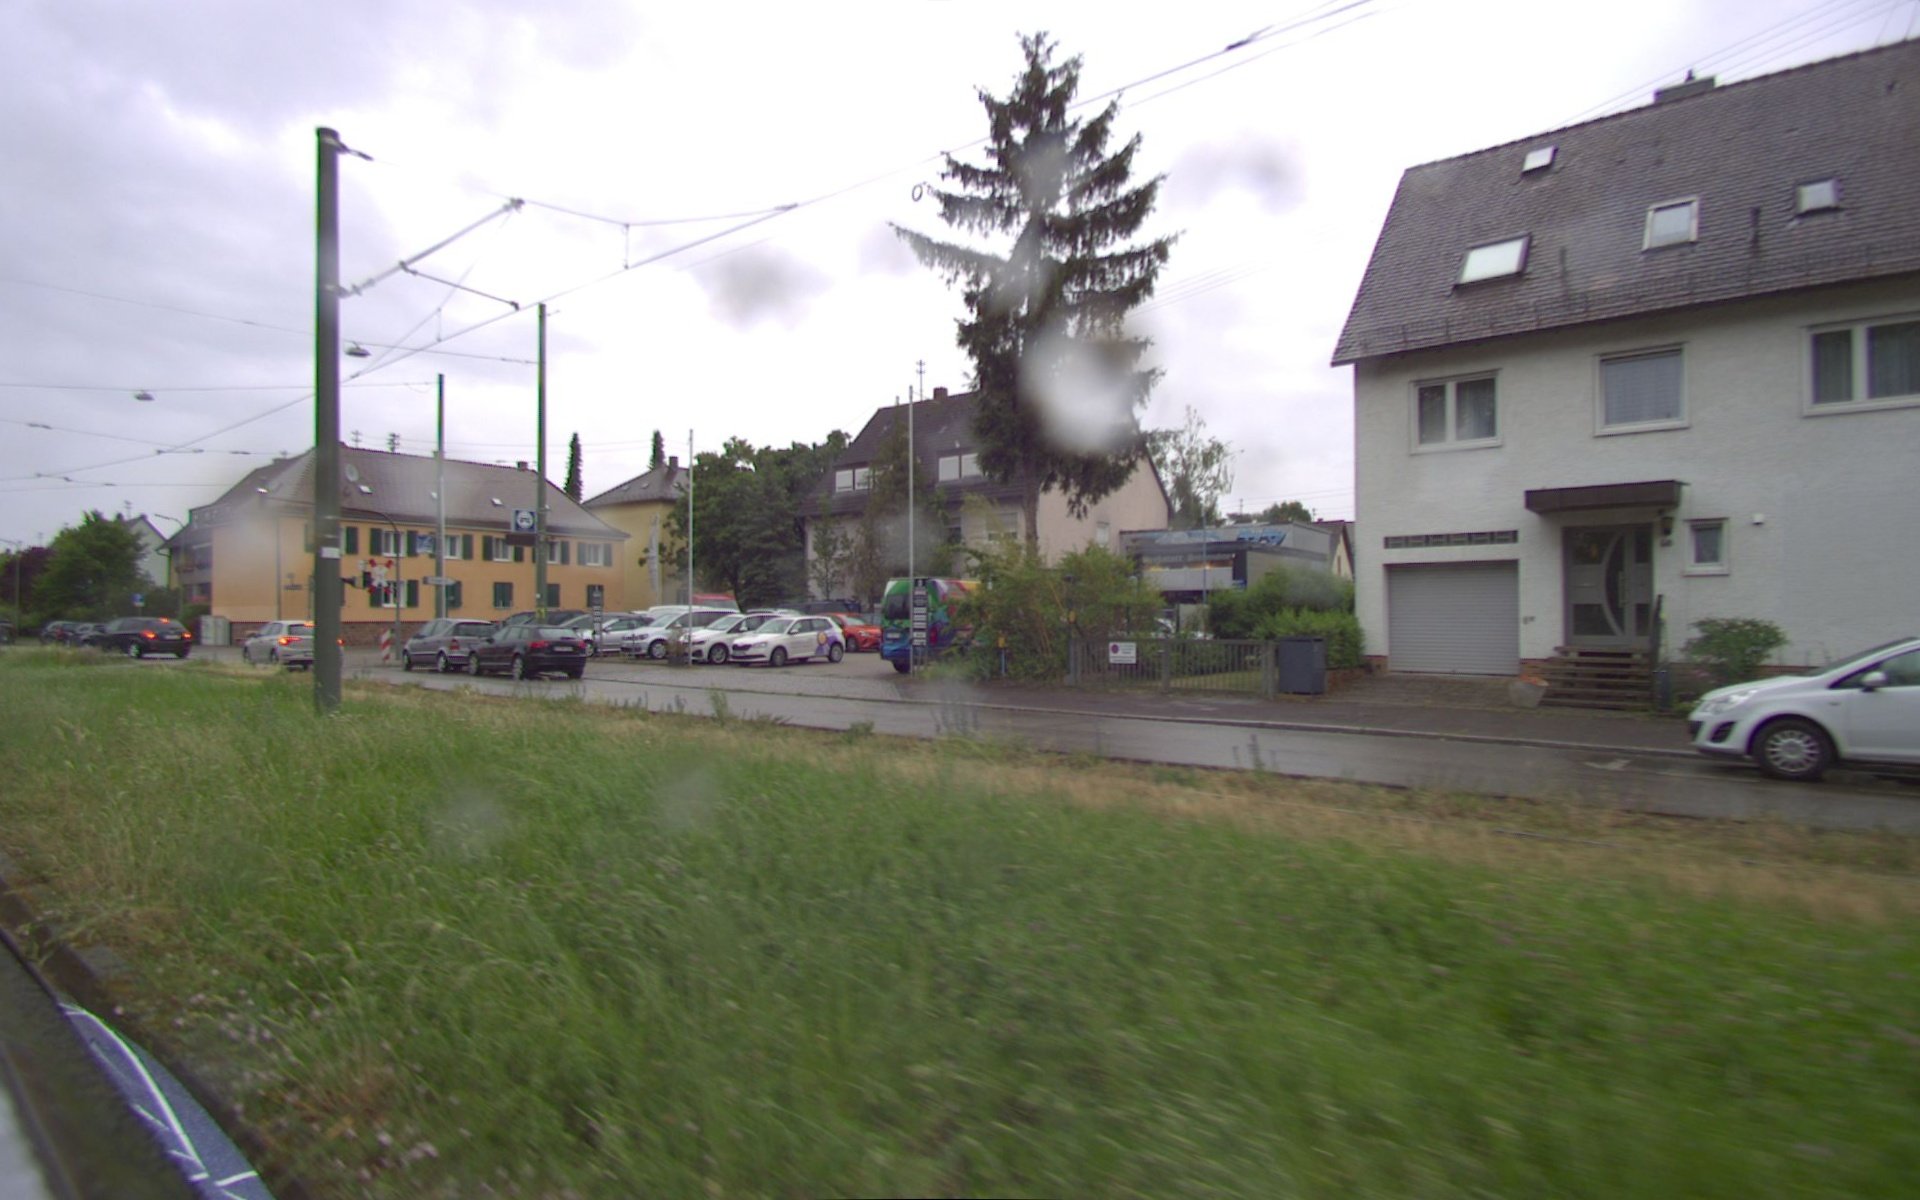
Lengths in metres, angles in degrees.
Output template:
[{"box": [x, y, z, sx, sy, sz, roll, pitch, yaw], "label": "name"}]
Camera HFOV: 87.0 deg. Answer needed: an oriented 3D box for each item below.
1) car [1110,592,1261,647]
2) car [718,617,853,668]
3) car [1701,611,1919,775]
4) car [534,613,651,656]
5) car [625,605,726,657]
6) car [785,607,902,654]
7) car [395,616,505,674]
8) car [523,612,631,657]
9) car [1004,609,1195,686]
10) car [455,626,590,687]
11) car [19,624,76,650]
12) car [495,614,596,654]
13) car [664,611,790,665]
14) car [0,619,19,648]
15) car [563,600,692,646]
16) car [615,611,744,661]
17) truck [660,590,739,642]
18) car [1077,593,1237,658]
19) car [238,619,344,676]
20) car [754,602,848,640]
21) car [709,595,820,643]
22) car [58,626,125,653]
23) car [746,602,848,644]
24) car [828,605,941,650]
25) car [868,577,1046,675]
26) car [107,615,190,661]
[{"box": [6.922, 0.622, 31.011, 4.363, 1.592, 1.854, 0, -2, 18], "label": "car"}, {"box": [-5.277, 1.257, 30.904, 1.723, 1.406, 3.788, 1, 0, 42], "label": "car"}, {"box": [9.410, 0.873, 9.430, 3.941, 1.434, 1.584, 1, 0, 40], "label": "car"}, {"box": [-13.744, 1.288, 37.874, 3.988, 1.515, 1.840, 1, 0, -22], "label": "car"}, {"box": [-11.846, 1.293, 42.017, 4.446, 2.029, 1.972, -2, -3, 42], "label": "car"}, {"box": [-4.495, 1.170, 38.694, 4.446, 1.700, 1.972, -2, -3, 42], "label": "car"}, {"box": [-15.221, 1.295, 30.152, 3.643, 1.515, 1.699, 1, 0, 42], "label": "car"}, {"box": [-15.187, 1.355, 40.323, 3.931, 1.730, 2.006, 0, -2, -18], "label": "car"}, {"box": [3.212, 1.121, 23.629, 3.890, 1.577, 1.974, -5, -4, 39], "label": "car"}, {"box": [-11.870, 1.463, 27.316, 4.389, 1.349, 1.698, 1, 0, 43], "label": "car"}, {"box": [-53.533, 2.132, 59.354, 3.993, 1.342, 1.738, 1, 0, 37], "label": "car"}, {"box": [-17.332, 1.421, 42.503, 3.805, 1.591, 1.813, 0, -2, -18], "label": "car"}, {"box": [-7.373, 1.167, 32.220, 1.723, 1.585, 3.566, 1, 0, 42], "label": "car"}, {"box": [-64.648, 2.205, 67.377, 3.988, 1.807, 1.978, 1, 0, 33], "label": "car"}, {"box": [-11.809, 0.809, 35.966, 3.990, 1.515, 1.839, 1, 0, -34], "label": "car"}, {"box": [-9.456, 1.194, 34.271, 3.811, 1.591, 1.810, 1, -2, -40], "label": "car"}, {"box": [-12.444, 0.818, 48.002, 1.966, 2.289, 6.121, 1, -2, -31], "label": "truck"}, {"box": [5.523, 0.748, 28.562, 3.890, 1.577, 1.974, -5, -4, 39], "label": "car"}, {"box": [-19.638, 1.342, 29.649, 3.817, 1.434, 1.584, 1, 0, 40], "label": "car"}, {"box": [-7.452, 1.013, 47.231, 4.446, 1.700, 1.972, -2, -3, 42], "label": "car"}, {"box": [-7.355, 0.745, 37.894, 4.446, 1.700, 1.736, -2, -3, 42], "label": "car"}, {"box": [-48.194, 2.146, 56.155, 4.498, 1.406, 1.942, -1, -1, 38], "label": "car"}, {"box": [-7.064, 1.005, 43.569, 4.446, 1.700, 1.972, -2, -3, 42], "label": "car"}, {"box": [-3.065, 1.120, 40.540, 4.446, 1.700, 1.972, -2, -3, 42], "label": "car"}, {"box": [0.040, 0.668, 27.807, 2.150, 2.424, 5.082, 1, 0, 39], "label": "car"}, {"box": [-30.152, 1.368, 37.577, 3.998, 1.497, 1.718, 1, 0, 41], "label": "car"}]
